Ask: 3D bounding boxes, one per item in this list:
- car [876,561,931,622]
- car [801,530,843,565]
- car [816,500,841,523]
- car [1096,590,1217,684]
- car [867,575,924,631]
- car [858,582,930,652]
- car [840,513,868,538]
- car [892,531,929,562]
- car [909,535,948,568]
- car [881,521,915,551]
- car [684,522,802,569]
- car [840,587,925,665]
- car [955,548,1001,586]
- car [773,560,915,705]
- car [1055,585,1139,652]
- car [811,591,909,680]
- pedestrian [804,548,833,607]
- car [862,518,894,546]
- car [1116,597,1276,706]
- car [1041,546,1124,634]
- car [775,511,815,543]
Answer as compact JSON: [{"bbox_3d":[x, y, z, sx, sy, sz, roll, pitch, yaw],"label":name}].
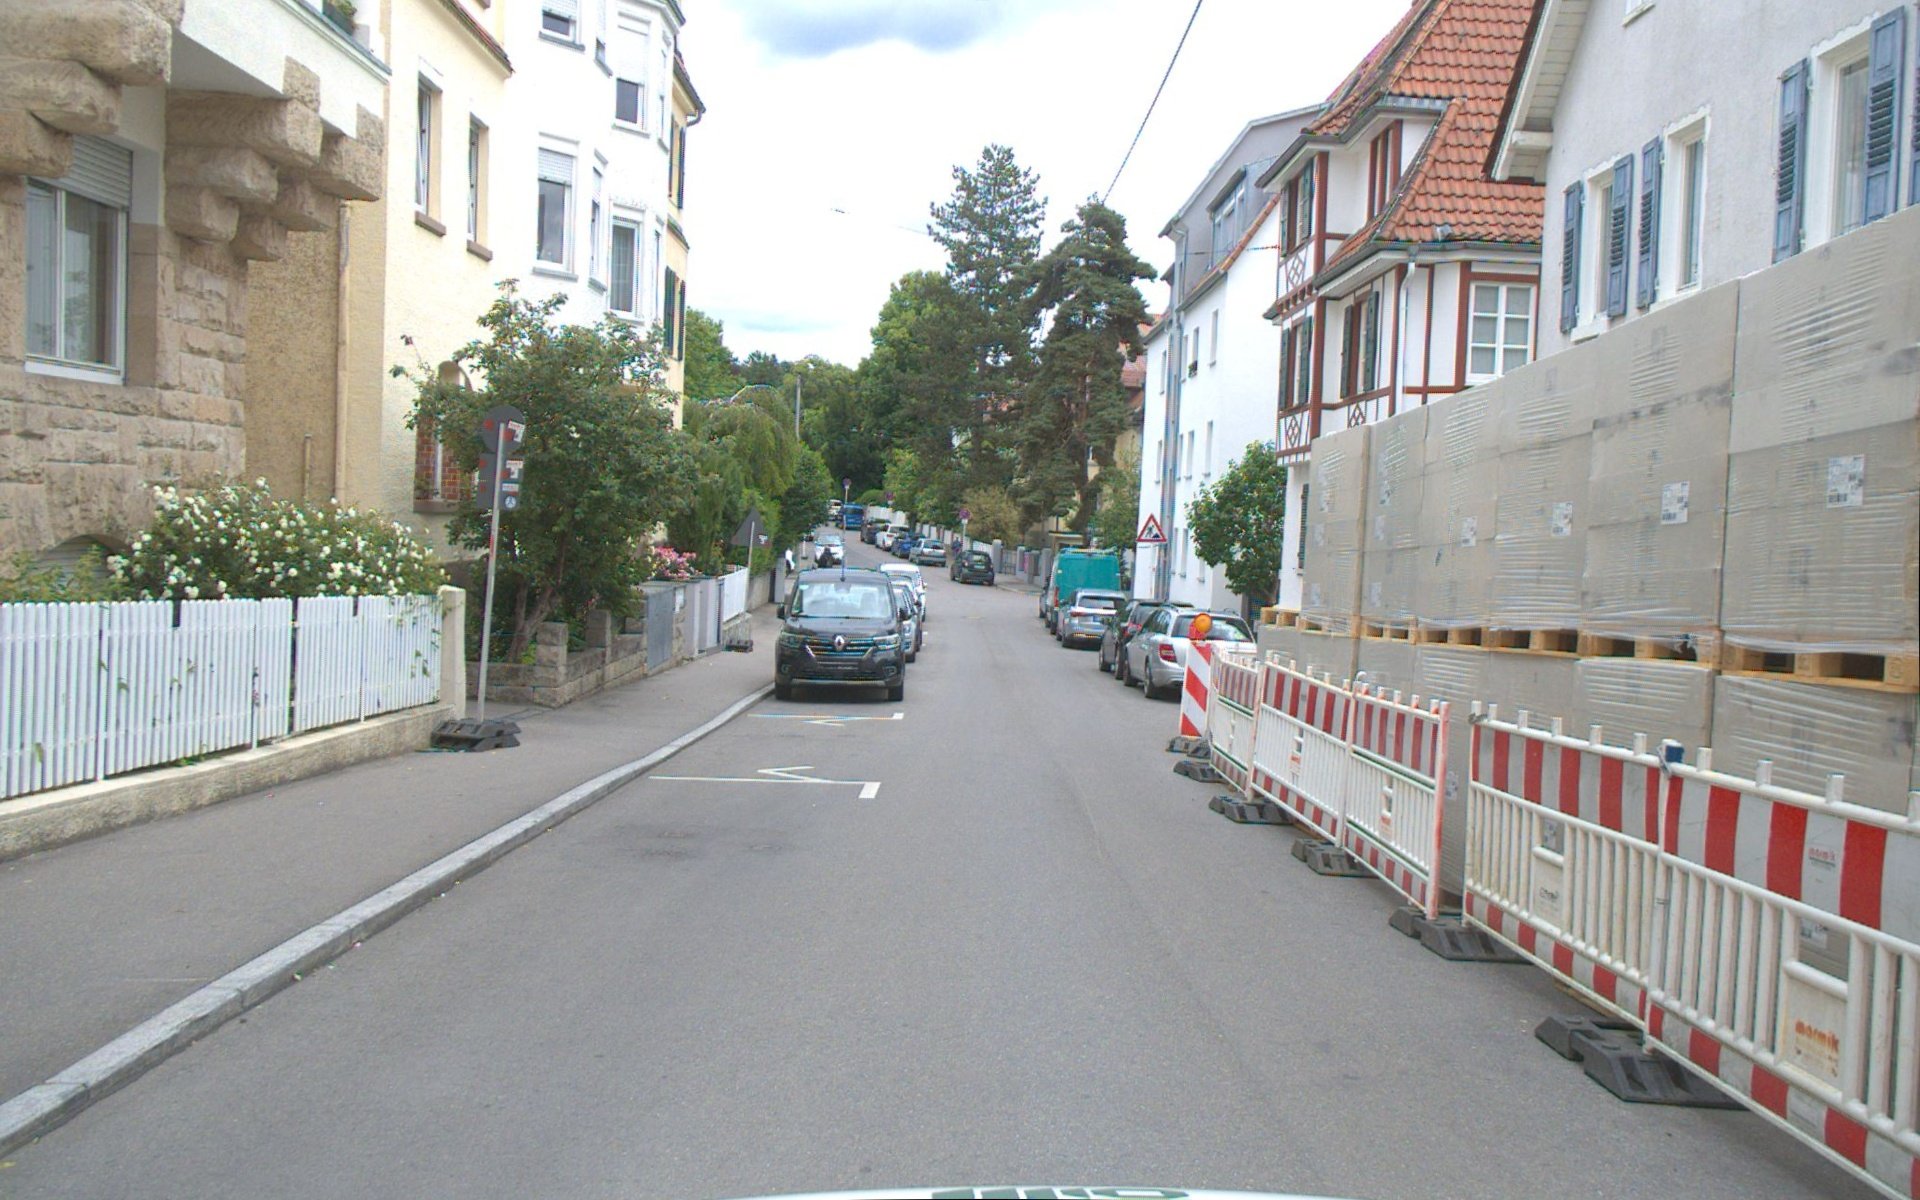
[{"bbox_3d":[-1.776,-0.308,52.671,1.638,1.685,3.864,2,4,-2],"label":"car"},{"bbox_3d":[-7.378,-2.835,88.283,1.644,1.685,3.852,1,4,-13],"label":"car"},{"bbox_3d":[-10.498,-7.065,131.922,1.604,1.563,3.524,3,4,-10],"label":"car"},{"bbox_3d":[3.668,0.646,31.446,1.655,1.546,3.880,3,1,-2],"label":"car"},{"bbox_3d":[-1.871,0.057,48.541,1.564,1.437,3.662,2,2,-2],"label":"car"},{"bbox_3d":[-1.522,0.350,38.799,1.564,1.504,3.990,2,1,-2],"label":"car"},{"bbox_3d":[-7.830,-5.509,121.788,1.604,1.563,3.524,3,4,-10],"label":"car"},{"bbox_3d":[-2.875,-3.105,95.565,1.604,1.509,3.524,3,4,-10],"label":"car"},{"bbox_3d":[-1.753,-2.670,91.009,1.604,1.509,3.524,3,4,-10],"label":"car"},{"bbox_3d":[-3.819,-3.955,101.644,1.604,1.563,3.524,3,4,-10],"label":"car"},{"bbox_3d":[-9.032,-2.250,69.147,1.964,1.668,4.785,4,2,41],"label":"car"},{"bbox_3d":[-1.561,0.495,34.054,1.609,1.441,3.983,2,1,-2],"label":"car"},{"bbox_3d":[0.852,-1.590,79.109,1.604,1.509,3.526,4,4,-8],"label":"car"},{"bbox_3d":[-1.651,0.424,23.818,1.808,1.847,4.541,1,0,-4],"label":"car"},{"bbox_3d":[3.466,0.437,42.519,1.690,1.473,3.880,3,2,-2],"label":"car"},{"bbox_3d":[-1.752,0.578,29.503,1.609,1.412,3.858,2,1,-3],"label":"car"},{"bbox_3d":[-4.832,-0.768,56.550,0.775,1.966,0.919,3,1,2],"label":"pedestrian"},{"bbox_3d":[-5.317,-4.428,107.409,1.604,1.563,3.524,3,4,-10],"label":"car"},{"bbox_3d":[3.748,0.772,26.963,1.782,1.467,4.450,3,1,-2],"label":"car"},{"bbox_3d":[3.582,-0.362,49.003,1.940,2.403,4.276,3,2,-2],"label":"car"},{"bbox_3d":[-10.664,-4.760,106.830,1.872,1.908,4.579,1,4,-15],"label":"car"}]
